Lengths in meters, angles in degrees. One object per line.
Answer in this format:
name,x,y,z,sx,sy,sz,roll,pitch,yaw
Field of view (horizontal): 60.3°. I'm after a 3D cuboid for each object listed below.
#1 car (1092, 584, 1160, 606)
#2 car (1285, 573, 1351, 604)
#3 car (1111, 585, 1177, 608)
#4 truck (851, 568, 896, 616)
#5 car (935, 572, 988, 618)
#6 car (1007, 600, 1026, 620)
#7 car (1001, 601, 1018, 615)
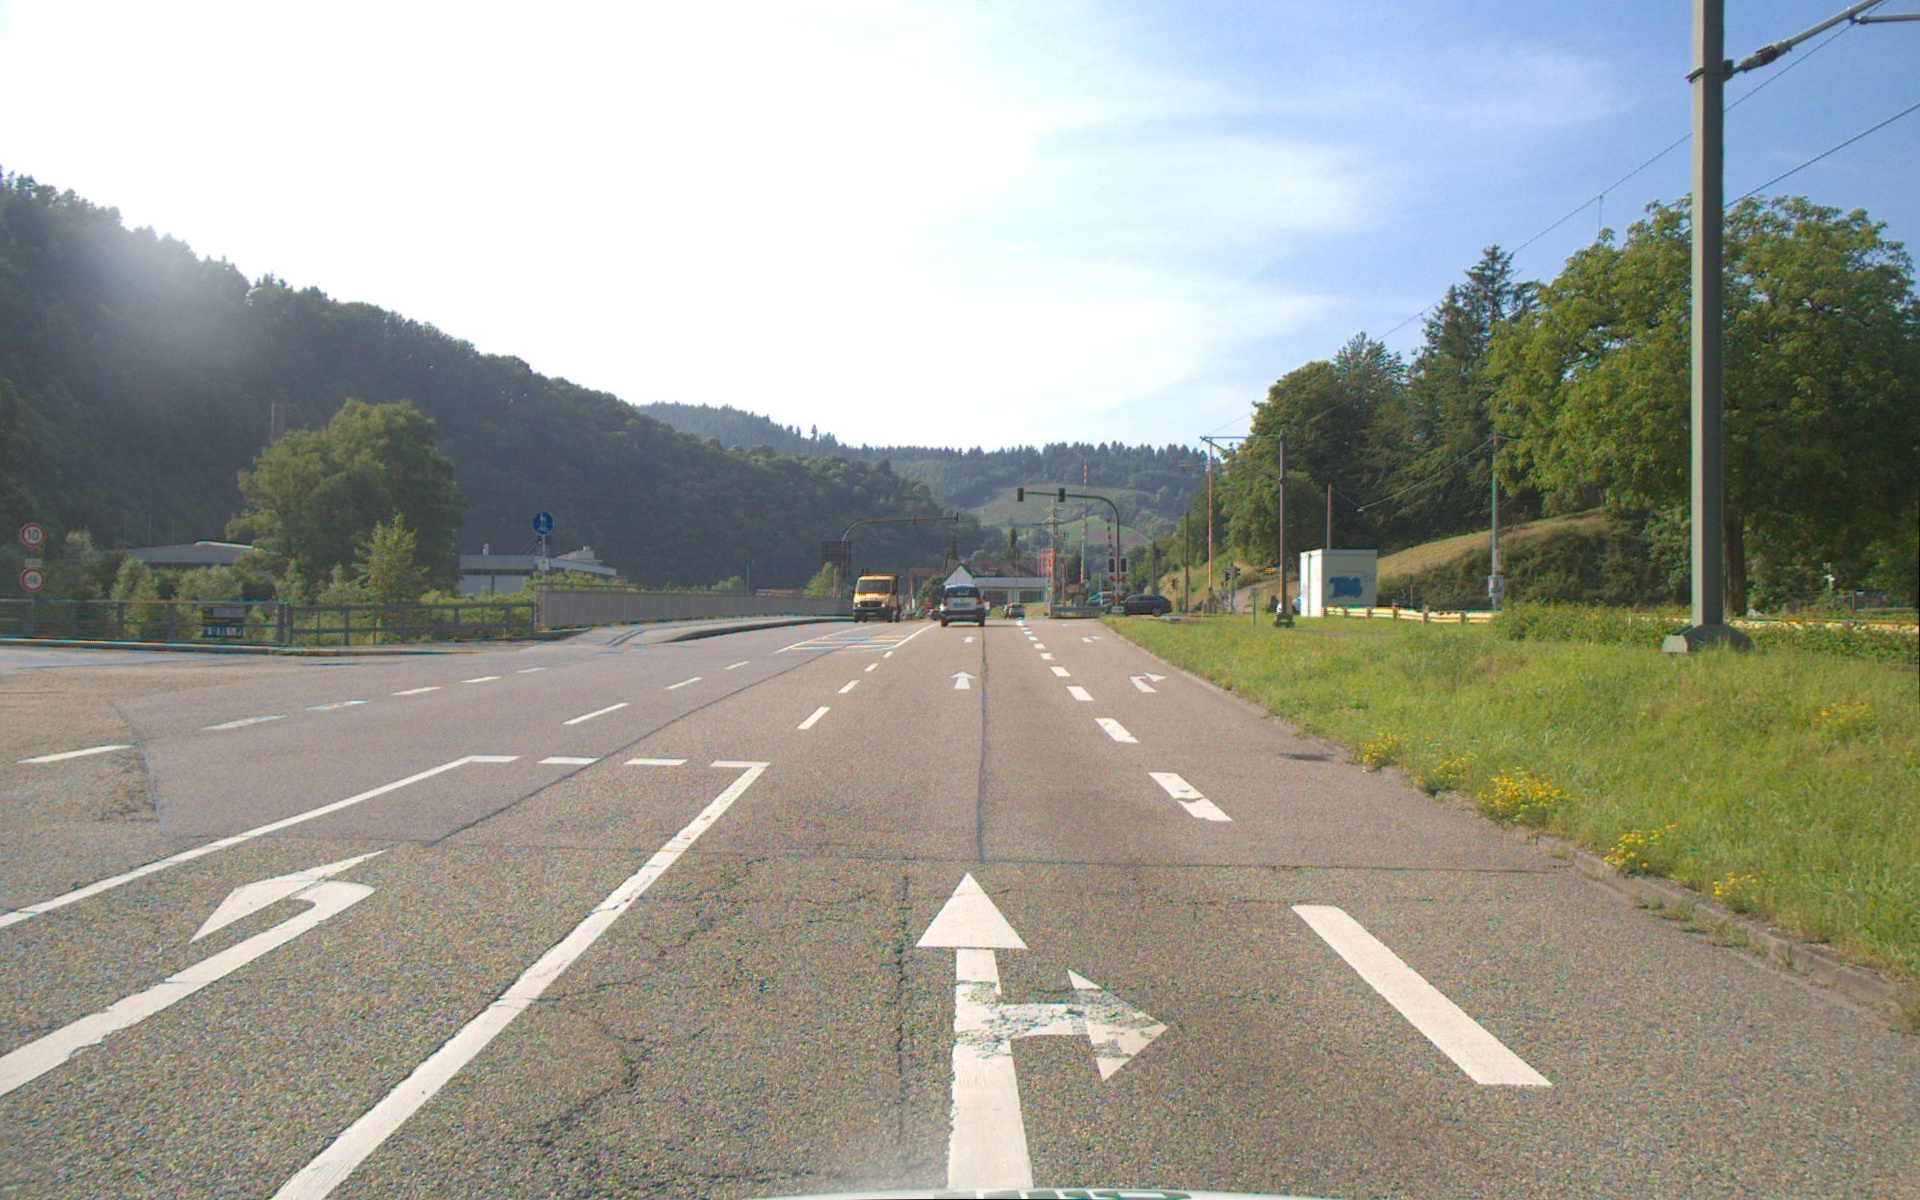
car,10.321,-0.312,102.817,3.902,1.378,1.879,0,1,15
car,22.383,-0.704,103.331,3.902,1.914,1.879,0,1,15
car,11.696,-0.226,105.035,3.902,1.378,1.879,0,1,15
truck,-4.380,-0.419,84.696,1.952,2.384,5.698,0,1,0
car,0.039,-0.201,66.110,1.953,1.753,3.989,-2,0,-2
car,6.182,1.093,180.376,1.953,2.049,4.000,0,1,0
car,5.789,0.943,194.176,1.953,1.646,4.000,0,1,0
